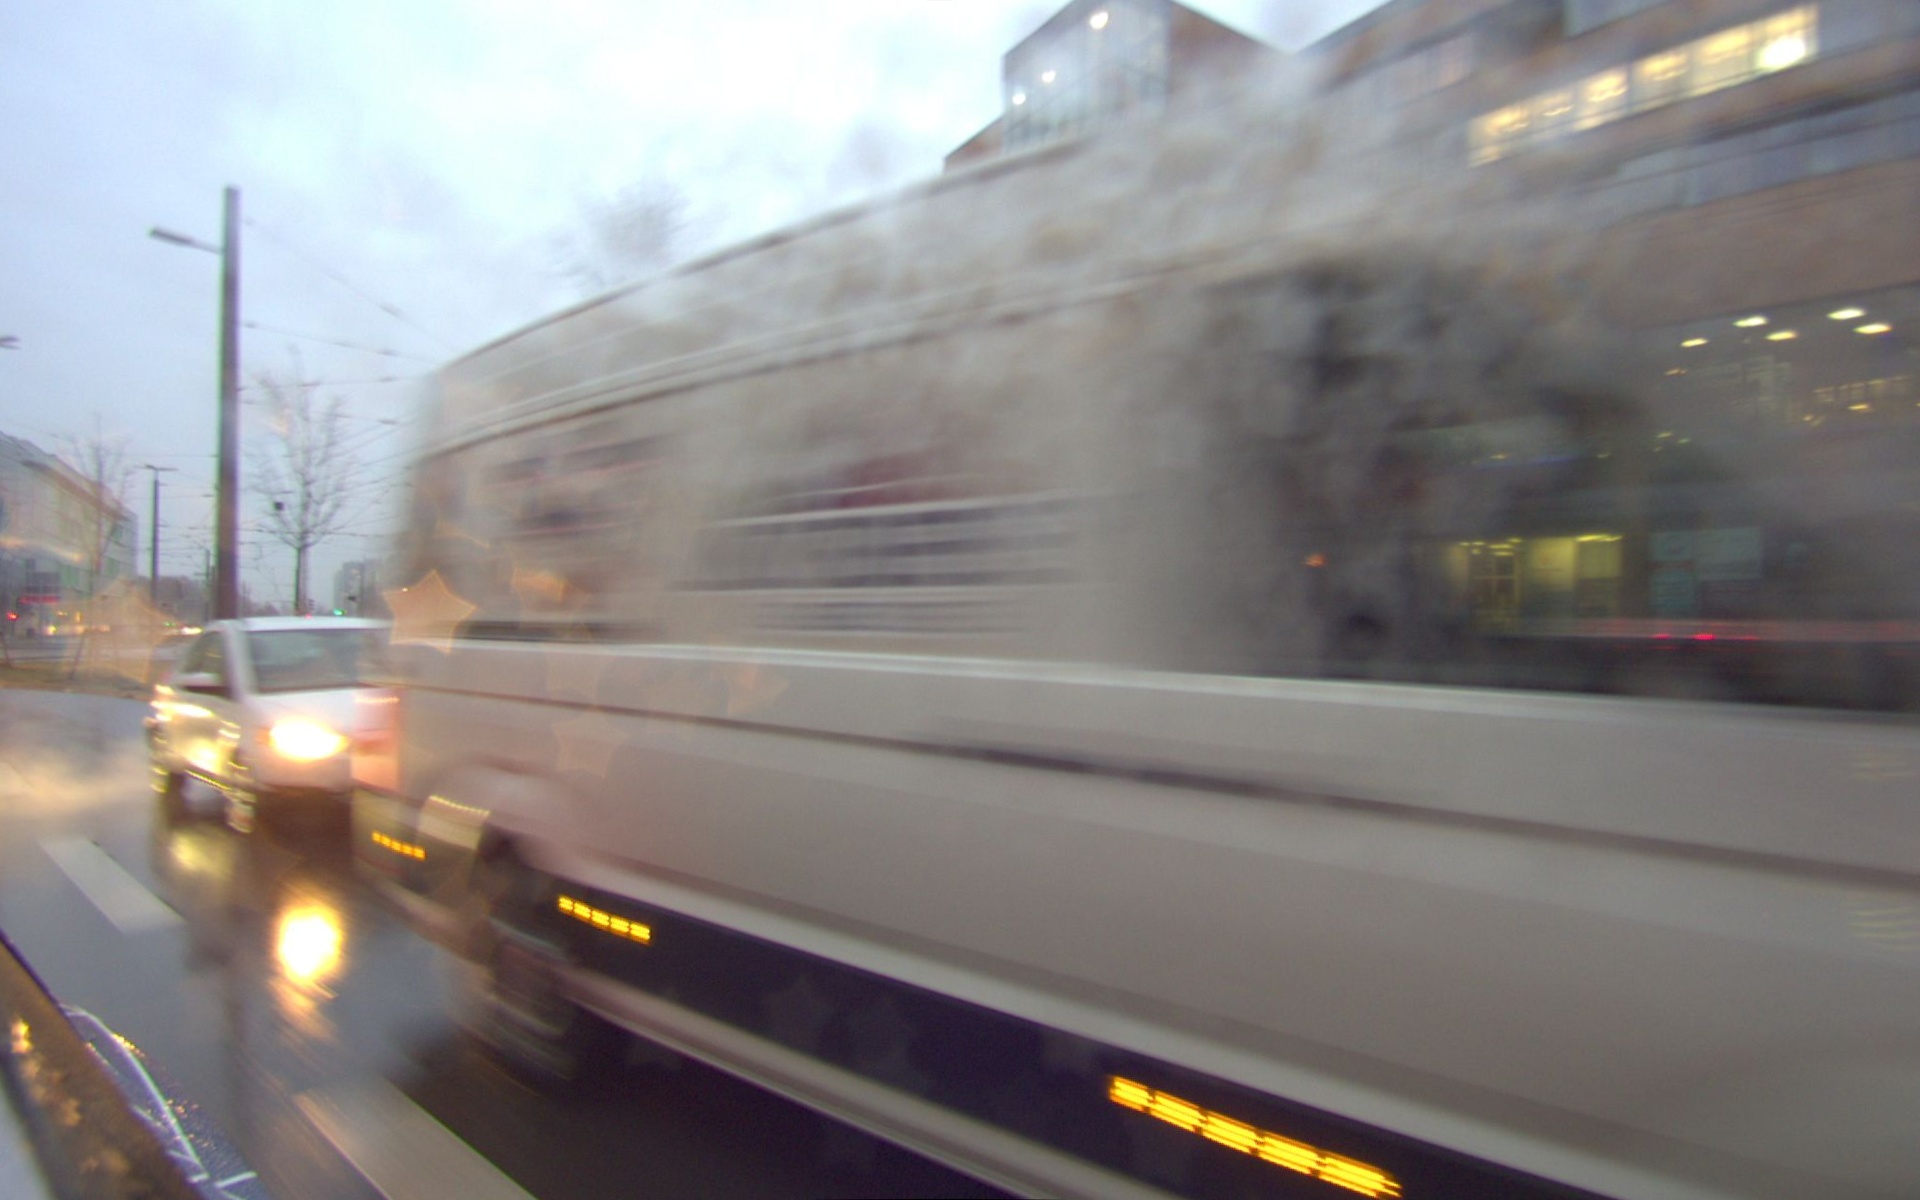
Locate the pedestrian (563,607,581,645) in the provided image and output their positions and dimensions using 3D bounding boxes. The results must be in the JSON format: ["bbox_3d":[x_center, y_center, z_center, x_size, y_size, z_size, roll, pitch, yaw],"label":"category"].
[{"bbox_3d":[-30.737,2.037,80.198,1.095,2.947,0.969,2,-1,-32],"label":"pedestrian"}]

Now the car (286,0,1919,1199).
[{"bbox_3d":[0.368,0.160,2.912,5.964,2.446,1.975,-1,-2,37],"label":"car"}]

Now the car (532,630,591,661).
[{"bbox_3d":[-19.822,2.222,50.311,1.791,1.453,3.965,1,-2,-36],"label":"car"}]

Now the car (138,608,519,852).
[{"bbox_3d":[-5.176,0.871,8.117,3.684,1.507,1.621,-2,-3,42],"label":"car"}]
